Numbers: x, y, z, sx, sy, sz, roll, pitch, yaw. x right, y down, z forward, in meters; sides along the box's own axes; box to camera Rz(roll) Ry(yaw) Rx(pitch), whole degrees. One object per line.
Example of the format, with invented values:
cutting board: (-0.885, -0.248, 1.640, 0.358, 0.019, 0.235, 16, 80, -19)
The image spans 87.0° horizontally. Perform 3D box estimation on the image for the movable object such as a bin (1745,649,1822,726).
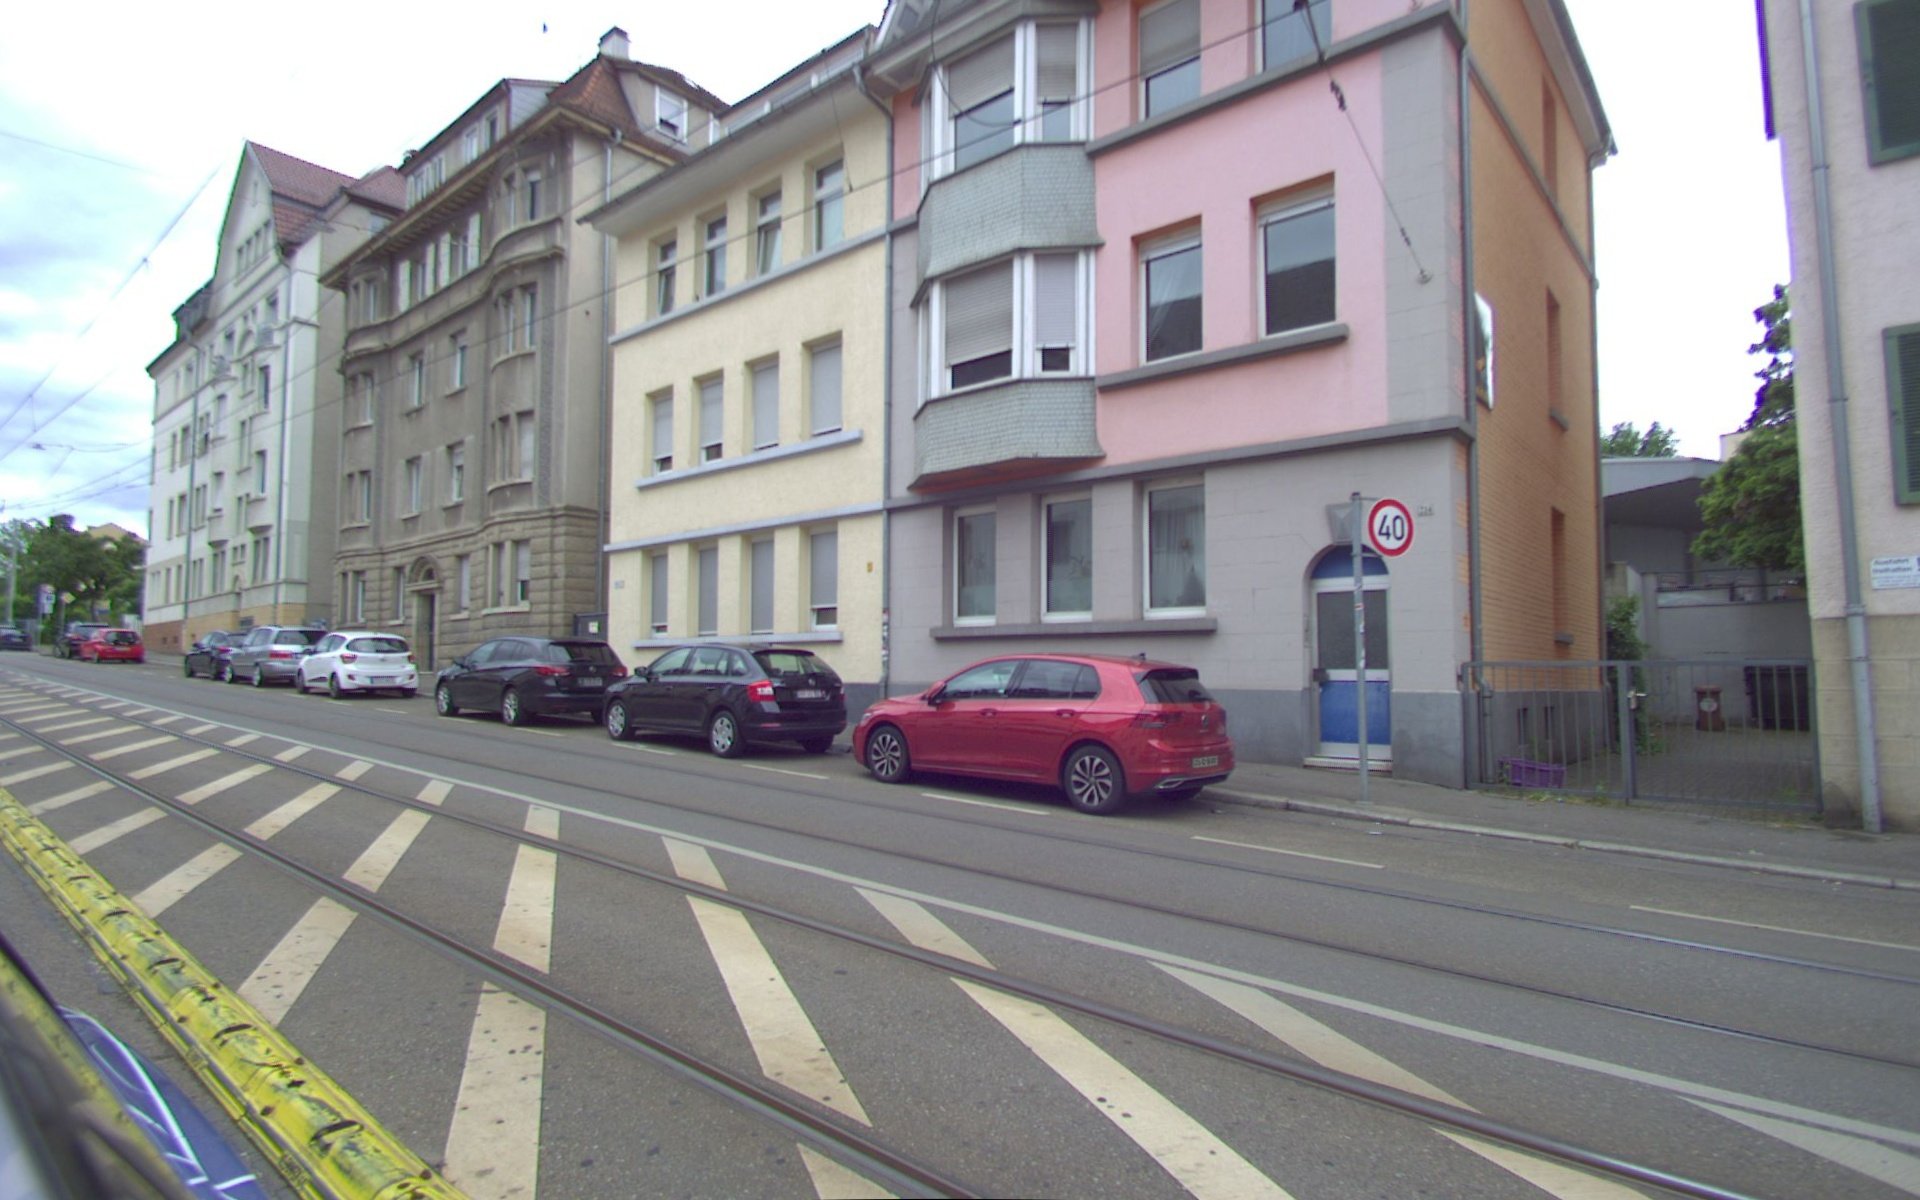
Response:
movable object such as a bin: (16.703, 1.744, 20.522, 1.144, 1.482, 1.073, -3, -3, 41)

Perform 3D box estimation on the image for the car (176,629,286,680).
car: (-21.908, 1.595, 30.362, 4.042, 1.392, 1.721, -1, -3, 40)

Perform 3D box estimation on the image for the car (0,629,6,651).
car: (-68.885, 2.754, 71.443, 3.949, 1.537, 1.721, -1, -5, 40)

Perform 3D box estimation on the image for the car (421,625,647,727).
car: (-7.497, 1.258, 17.585, 4.524, 1.522, 1.766, -1, -5, 41)

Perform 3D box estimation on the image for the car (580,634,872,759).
car: (-3.345, 1.254, 14.041, 4.240, 1.421, 1.766, -1, -5, 41)

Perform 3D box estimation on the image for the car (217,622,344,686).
car: (-18.358, 1.419, 27.281, 4.140, 1.579, 1.721, -1, -3, 40)

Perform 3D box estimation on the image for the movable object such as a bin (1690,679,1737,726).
movable object such as a bin: (15.425, 2.084, 20.710, 0.701, 0.892, 0.673, -3, -3, 41)

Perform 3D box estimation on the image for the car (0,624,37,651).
car: (-59.224, 2.327, 63.210, 3.949, 1.537, 1.721, -1, -5, 40)

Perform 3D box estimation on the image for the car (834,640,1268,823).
car: (0.795, 1.216, 10.535, 4.259, 1.449, 1.766, -1, -5, 41)

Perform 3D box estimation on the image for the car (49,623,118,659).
car: (-40.160, 1.864, 46.335, 3.949, 1.537, 1.721, -1, -5, 40)

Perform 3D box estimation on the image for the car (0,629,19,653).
car: (-64.186, 2.674, 67.432, 3.950, 1.537, 1.720, -1, -5, 41)

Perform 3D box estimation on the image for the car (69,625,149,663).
car: (-36.355, 1.884, 43.203, 3.945, 1.470, 1.722, 0, -5, 37)

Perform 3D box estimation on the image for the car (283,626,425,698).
car: (-14.210, 1.414, 23.661, 3.799, 1.522, 1.720, -1, -3, 41)
